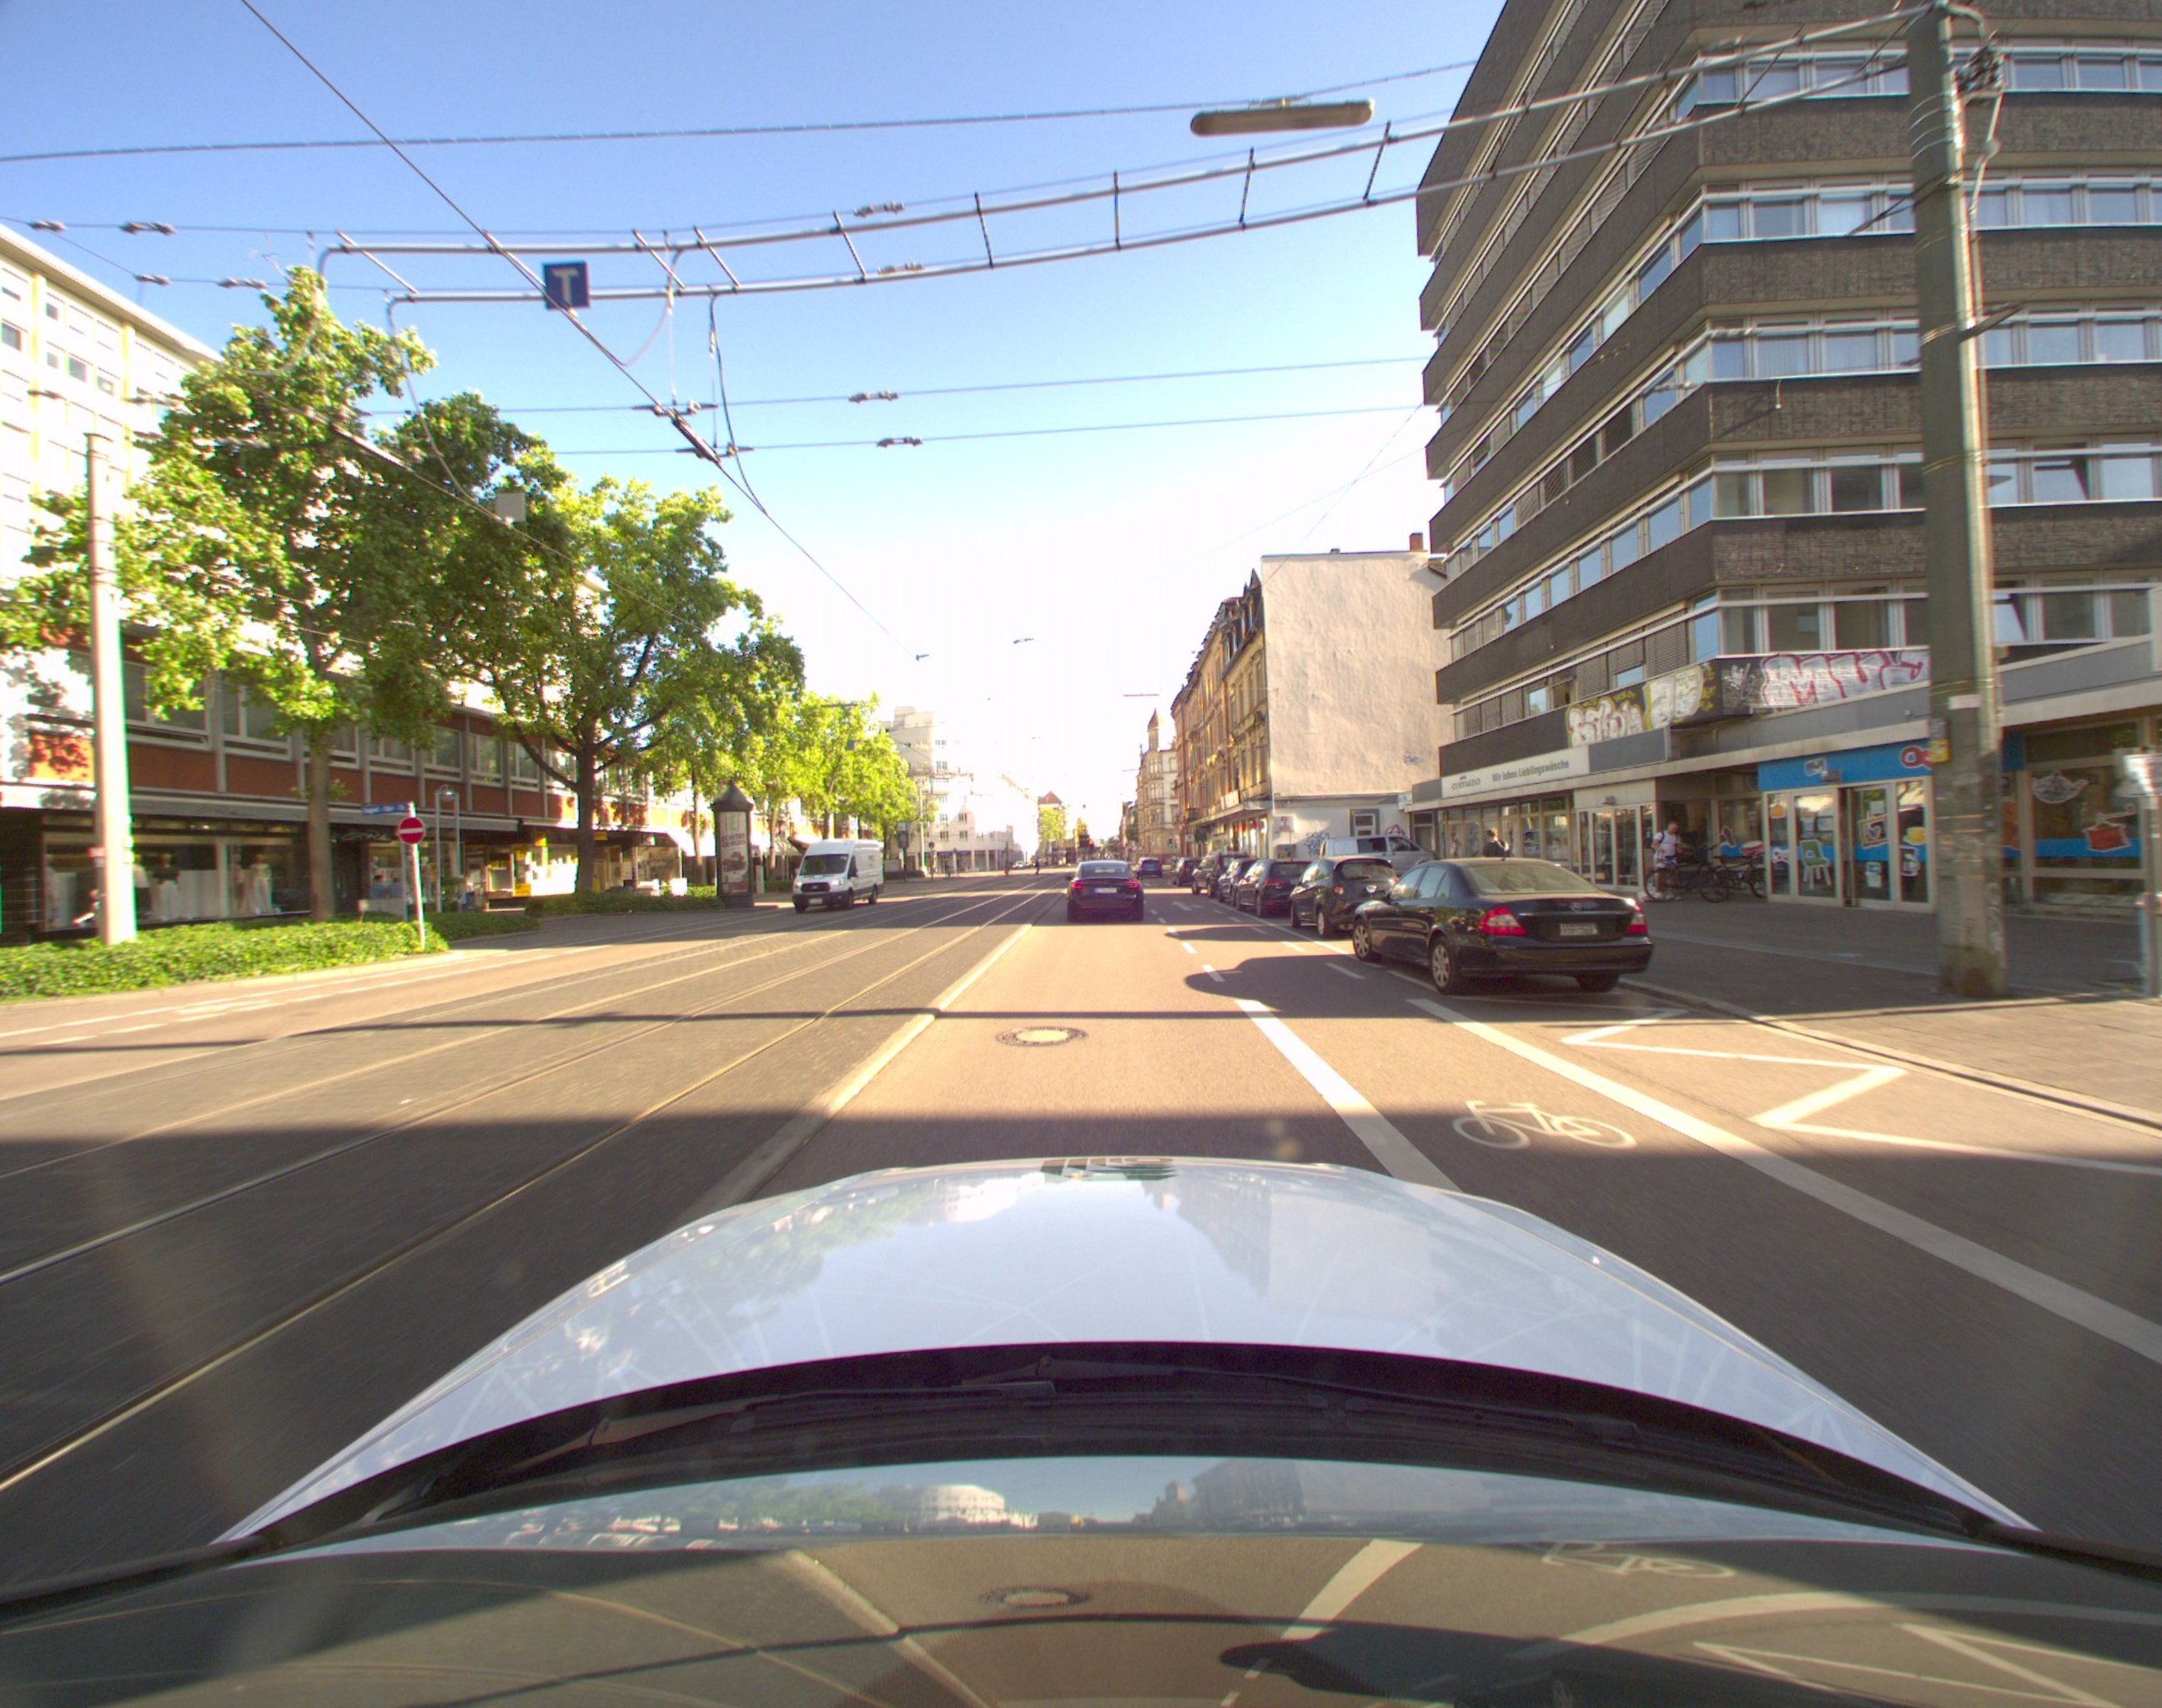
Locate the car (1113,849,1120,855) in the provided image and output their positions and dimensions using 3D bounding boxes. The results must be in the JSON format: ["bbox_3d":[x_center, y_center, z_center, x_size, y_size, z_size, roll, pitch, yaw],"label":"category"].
[{"bbox_3d":[9.470,-0.506,219.346,1.839,1.592,4.003,-3,1,2],"label":"car"}]

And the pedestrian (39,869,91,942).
[{"bbox_3d":[-25.475,1.269,20.430,0.534,1.784,0.593,0,1,1],"label":"pedestrian"}]

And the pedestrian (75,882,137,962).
[{"bbox_3d":[-23.252,1.605,19.434,0.624,1.847,0.673,0,1,-2],"label":"pedestrian"}]

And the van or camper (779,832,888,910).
[{"bbox_3d":[-9.487,0.577,31.974,2.133,2.654,6.878,-3,0,-1],"label":"van or camper"}]

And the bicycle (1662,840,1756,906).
[{"bbox_3d":[13.053,0.370,16.911,2.189,1.219,0.797,-3,1,-32],"label":"bicycle"}]

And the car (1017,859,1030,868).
[{"bbox_3d":[-11.142,1.774,158.714,1.986,1.574,4.002,-3,0,2],"label":"car"}]

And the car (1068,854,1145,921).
[{"bbox_3d":[0.592,0.757,20.232,1.714,1.405,3.710,-1,1,0],"label":"car"}]

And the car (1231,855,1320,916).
[{"bbox_3d":[5.033,0.759,21.492,1.456,1.432,3.814,-1,0,1],"label":"car"}]

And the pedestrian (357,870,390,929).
[{"bbox_3d":[-23.297,1.488,26.837,0.590,1.872,0.537,-1,1,-8],"label":"pedestrian"}]

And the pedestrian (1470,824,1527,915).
[{"bbox_3d":[8.641,0.309,16.895,0.718,1.812,0.890,-3,0,5],"label":"pedestrian"}]

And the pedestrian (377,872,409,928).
[{"bbox_3d":[-22.677,1.492,26.855,0.545,1.801,0.587,-1,1,-8],"label":"pedestrian"}]

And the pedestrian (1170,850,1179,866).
[{"bbox_3d":[9.408,0.384,81.545,0.746,1.617,0.706,-3,0,-1],"label":"pedestrian"}]

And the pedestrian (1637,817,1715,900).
[{"bbox_3d":[12.932,0.090,17.740,1.143,1.728,1.050,-3,1,26],"label":"pedestrian"}]

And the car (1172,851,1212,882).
[{"bbox_3d":[5.735,0.616,42.400,1.708,1.472,3.722,-3,0,2],"label":"car"}]

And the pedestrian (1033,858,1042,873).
[{"bbox_3d":[-4.218,1.114,78.969,0.699,1.501,0.795,-2,0,2],"label":"pedestrian"}]

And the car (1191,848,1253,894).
[{"bbox_3d":[5.396,0.616,31.678,1.822,1.628,4.097,-1,0,2],"label":"car"}]

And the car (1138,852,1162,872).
[{"bbox_3d":[5.143,0.571,60.839,1.587,1.433,3.688,-3,0,2],"label":"car"}]

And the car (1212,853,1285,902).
[{"bbox_3d":[5.361,0.714,26.481,1.573,1.443,3.914,-1,0,1],"label":"car"}]

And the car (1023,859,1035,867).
[{"bbox_3d":[-10.635,1.761,167.831,1.986,1.495,4.002,-3,0,2],"label":"car"}]

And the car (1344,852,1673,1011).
[{"bbox_3d":[4.744,0.721,9.918,1.704,1.457,4.552,-1,0,1],"label":"car"}]

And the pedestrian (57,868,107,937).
[{"bbox_3d":[-26.089,1.253,21.270,0.534,1.770,0.593,0,1,1],"label":"pedestrian"}]

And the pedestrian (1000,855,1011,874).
[{"bbox_3d":[-7.019,0.997,76.145,0.839,1.695,0.798,0,1,8],"label":"pedestrian"}]

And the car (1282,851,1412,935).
[{"bbox_3d":[5.088,0.702,15.987,1.572,1.447,3.311,-1,0,2],"label":"car"}]

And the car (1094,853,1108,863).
[{"bbox_3d":[3.316,0.636,133.968,1.989,1.525,3.996,0,-1,-3],"label":"car"}]

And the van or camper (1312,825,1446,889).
[{"bbox_3d":[11.966,0.124,32.948,4.622,2.136,1.990,-5,0,5],"label":"van or camper"}]

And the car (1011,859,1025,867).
[{"bbox_3d":[-10.918,1.563,142.084,1.986,1.368,4.002,-3,0,2],"label":"car"}]
